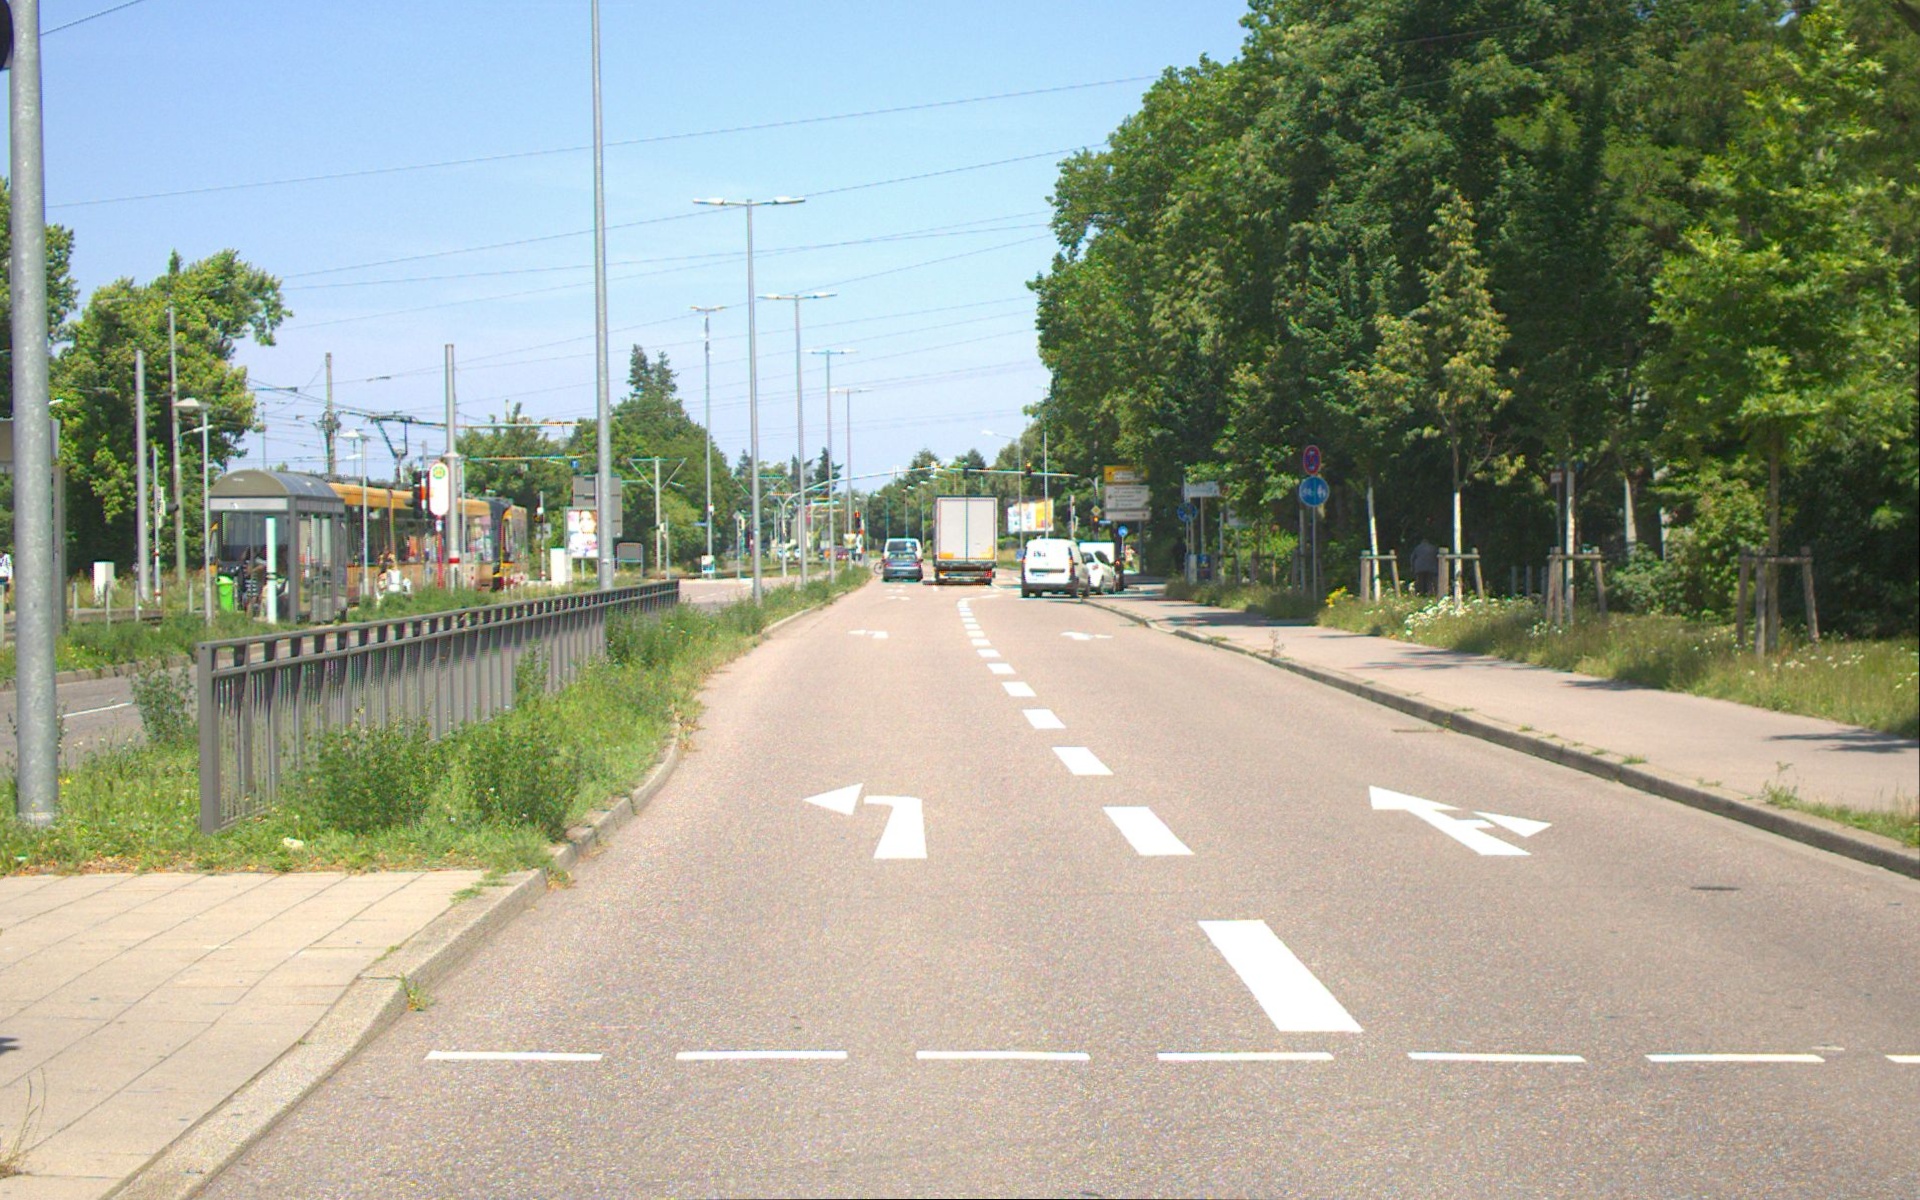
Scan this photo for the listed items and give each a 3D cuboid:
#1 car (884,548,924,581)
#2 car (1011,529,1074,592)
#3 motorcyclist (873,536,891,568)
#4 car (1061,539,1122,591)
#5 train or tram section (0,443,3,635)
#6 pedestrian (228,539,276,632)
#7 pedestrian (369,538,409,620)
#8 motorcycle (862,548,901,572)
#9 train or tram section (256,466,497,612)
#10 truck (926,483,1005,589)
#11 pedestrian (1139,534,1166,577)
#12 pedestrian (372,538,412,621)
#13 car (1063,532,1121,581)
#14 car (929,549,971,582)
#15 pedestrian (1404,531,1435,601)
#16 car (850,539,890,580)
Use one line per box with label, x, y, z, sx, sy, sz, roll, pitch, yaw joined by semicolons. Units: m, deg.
car;-2.572;-1.652;157.882;1.811;1.459;4.000;0;1;-1
car;2.499;-1.223;105.513;1.779;1.897;4.000;0;1;-1
motorcyclist;-4.549;-2.809;200.288;0.924;1.829;0.850;-1;1;-12
car;4.287;-1.152;112.443;1.779;1.663;4.000;0;1;-1
train or tram section;-20.252;-1.084;61.061;3.215;3.918;18.504;-1;1;-6
pedestrian;-14.263;-0.304;69.298;0.785;1.862;0.817;0;1;-1
pedestrian;-14.102;-0.527;84.944;0.815;2.007;0.938;0;1;-1
motorcycle;-4.571;-2.330;200.304;2.182;1.402;0.848;-1;1;-11
train or tram section;-17.083;-1.838;103.758;2.957;3.736;30.035;0;1;-2
truck;0.199;-2.719;146.050;3.205;4.344;6.561;0;1;-1
pedestrian;9.137;-2.122;163.117;1.185;2.007;1.214;0;1;0
pedestrian;-13.824;-0.510;83.651;0.815;2.007;0.938;0;1;-1
car;4.536;-1.516;118.787;1.779;1.663;4.000;0;1;-1
car;-0.448;-1.558;153.615;1.811;1.459;4.000;0;1;-1
pedestrian;9.433;-0.707;70.626;0.604;1.433;0.556;0;1;6
car;-4.570;-2.076;175.163;1.993;2.007;4.000;0;1;-1
